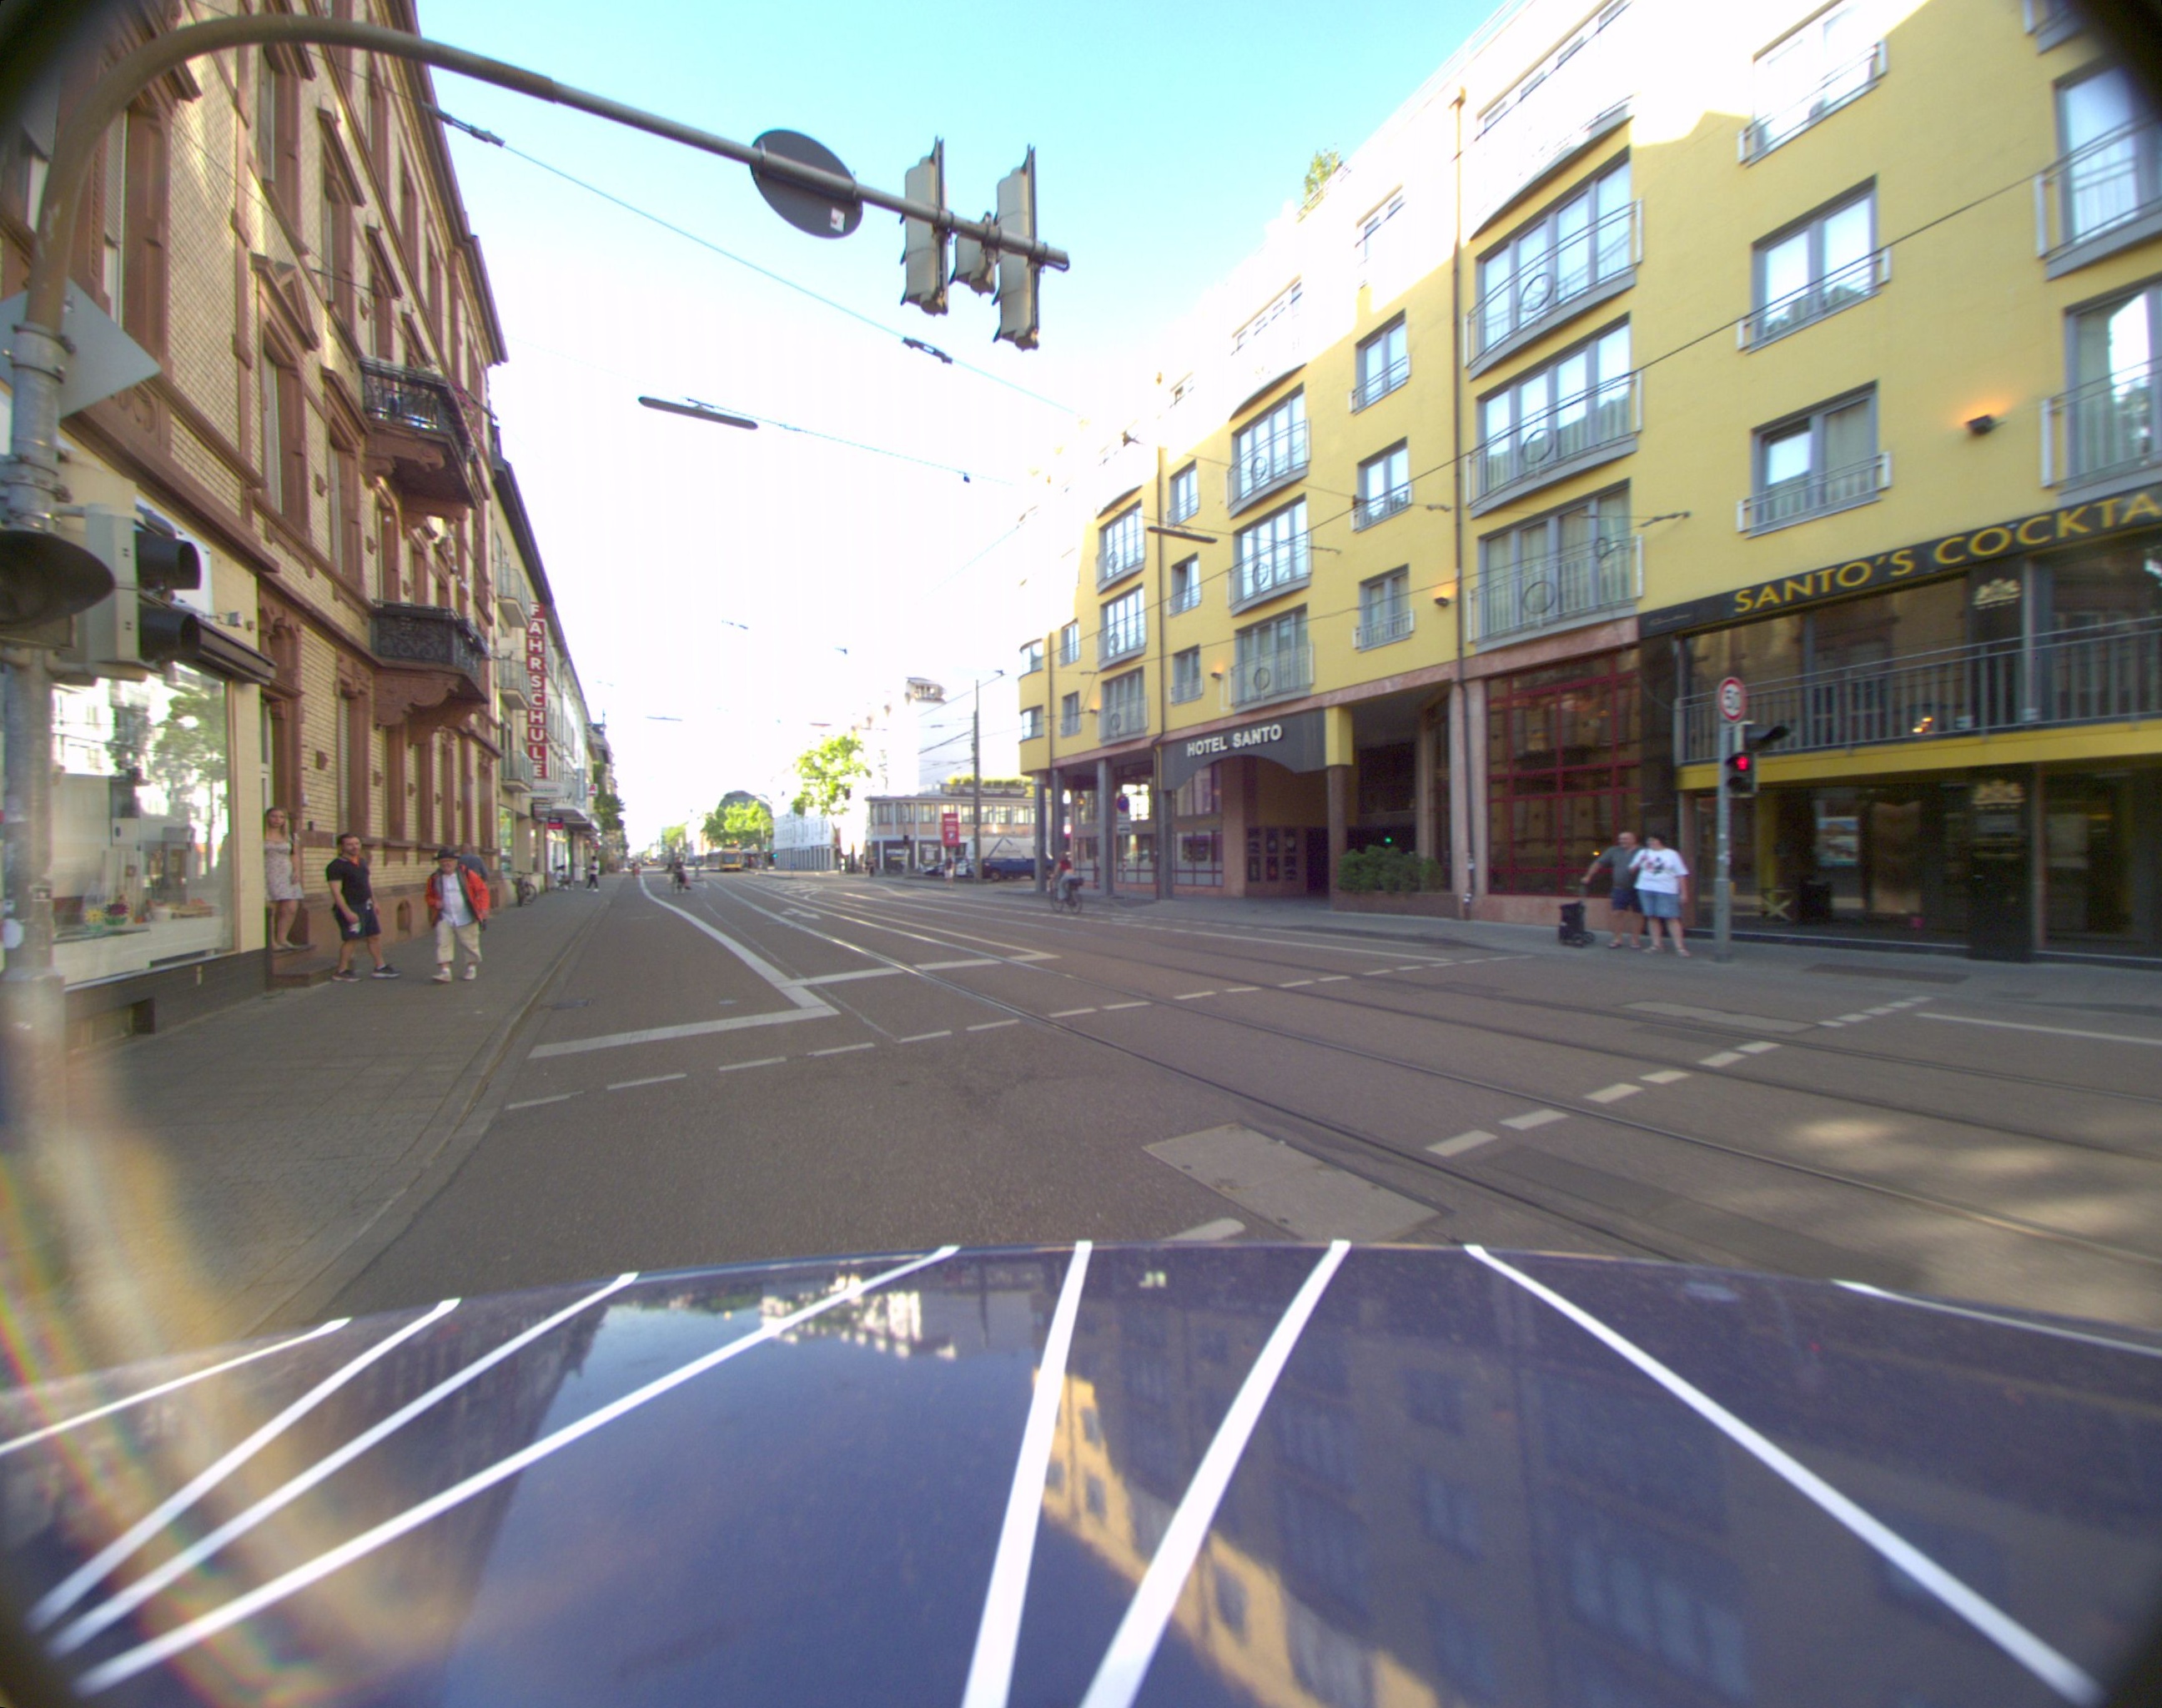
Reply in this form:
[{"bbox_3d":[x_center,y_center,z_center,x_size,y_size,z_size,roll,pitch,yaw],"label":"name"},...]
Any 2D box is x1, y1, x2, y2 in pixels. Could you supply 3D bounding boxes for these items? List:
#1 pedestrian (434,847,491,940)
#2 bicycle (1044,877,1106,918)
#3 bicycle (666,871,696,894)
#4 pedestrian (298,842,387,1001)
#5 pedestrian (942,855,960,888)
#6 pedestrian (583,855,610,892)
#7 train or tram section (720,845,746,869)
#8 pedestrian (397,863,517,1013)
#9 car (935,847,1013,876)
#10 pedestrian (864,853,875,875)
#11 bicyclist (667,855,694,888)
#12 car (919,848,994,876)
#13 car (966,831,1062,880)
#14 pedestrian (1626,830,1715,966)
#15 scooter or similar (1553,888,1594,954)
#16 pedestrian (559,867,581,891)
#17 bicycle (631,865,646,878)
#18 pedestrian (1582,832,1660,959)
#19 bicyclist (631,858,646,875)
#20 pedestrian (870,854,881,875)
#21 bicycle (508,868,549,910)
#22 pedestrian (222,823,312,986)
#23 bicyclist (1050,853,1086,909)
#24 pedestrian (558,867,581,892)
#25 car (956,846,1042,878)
[{"bbox_3d":[-12.550,0.773,15.434,0.726,1.827,0.898,-1,1,-30],"label":"pedestrian"},{"bbox_3d":[-0.187,1.150,20.707,0.680,0.998,1.958,-1,1,-34],"label":"bicycle"},{"bbox_3d":[-19.006,1.333,36.092,1.077,0.997,3.054,-1,0,-31],"label":"bicycle"},{"bbox_3d":[-8.588,0.746,8.867,0.603,1.765,0.750,-1,1,-35],"label":"pedestrian"},{"bbox_3d":[-6.782,0.889,39.670,0.727,1.685,0.688,-1,1,-32],"label":"pedestrian"},{"bbox_3d":[-24.544,0.978,38.458,0.722,1.827,0.902,0,1,35],"label":"pedestrian"},{"bbox_3d":[-47.370,0.385,103.267,2.284,3.120,10.018,-1,0,-30],"label":"train or tram section"},{"bbox_3d":[-7.613,0.959,9.347,1.009,1.670,1.170,-1,1,-35],"label":"pedestrian"},{"bbox_3d":[-7.213,0.498,51.286,4.826,1.826,2.055,-1,0,-28],"label":"car"},{"bbox_3d":[-16.638,0.784,59.765,0.618,1.719,0.897,-1,1,-33],"label":"pedestrian"},{"bbox_3d":[-19.026,0.824,36.104,1.077,1.529,0.838,-1,1,-31],"label":"bicyclist"},{"bbox_3d":[-8.773,0.534,53.717,4.826,1.826,2.055,-1,0,-28],"label":"car"},{"bbox_3d":[-3.918,0.054,44.556,5.156,2.742,2.055,-1,1,-28],"label":"car"},{"bbox_3d":[8.425,0.601,10.866,0.728,1.830,0.733,-5,3,-30],"label":"pedestrian"},{"bbox_3d":[7.754,1.051,11.959,0.423,0.972,0.356,-5,3,-32],"label":"scooter or similar"},{"bbox_3d":[-25.602,1.242,38.086,0.902,1.169,0.723,-1,1,-33],"label":"pedestrian"},{"bbox_3d":[-37.924,1.490,65.088,1.077,0.997,3.054,-1,0,-31],"label":"bicycle"},{"bbox_3d":[8.261,0.605,11.624,0.728,1.830,0.677,-5,3,-30],"label":"pedestrian"},{"bbox_3d":[-37.930,1.069,65.093,1.077,1.401,0.836,-1,1,-31],"label":"bicyclist"},{"bbox_3d":[-16.497,0.832,61.014,0.618,1.597,0.897,-1,1,-33],"label":"pedestrian"},{"bbox_3d":[-18.268,1.107,25.174,0.896,1.263,2.797,-1,0,-32],"label":"bicycle"},{"bbox_3d":[-9.162,0.544,8.575,0.551,1.765,0.569,-1,1,-35],"label":"pedestrian"},{"bbox_3d":[-0.363,0.723,20.945,0.680,1.511,0.754,-1,1,-34],"label":"bicyclist"},{"bbox_3d":[-25.186,1.233,37.393,0.902,1.169,0.723,-1,1,-33],"label":"pedestrian"},{"bbox_3d":[-5.052,0.459,46.793,4.826,1.826,2.055,-1,0,-28],"label":"car"}]
